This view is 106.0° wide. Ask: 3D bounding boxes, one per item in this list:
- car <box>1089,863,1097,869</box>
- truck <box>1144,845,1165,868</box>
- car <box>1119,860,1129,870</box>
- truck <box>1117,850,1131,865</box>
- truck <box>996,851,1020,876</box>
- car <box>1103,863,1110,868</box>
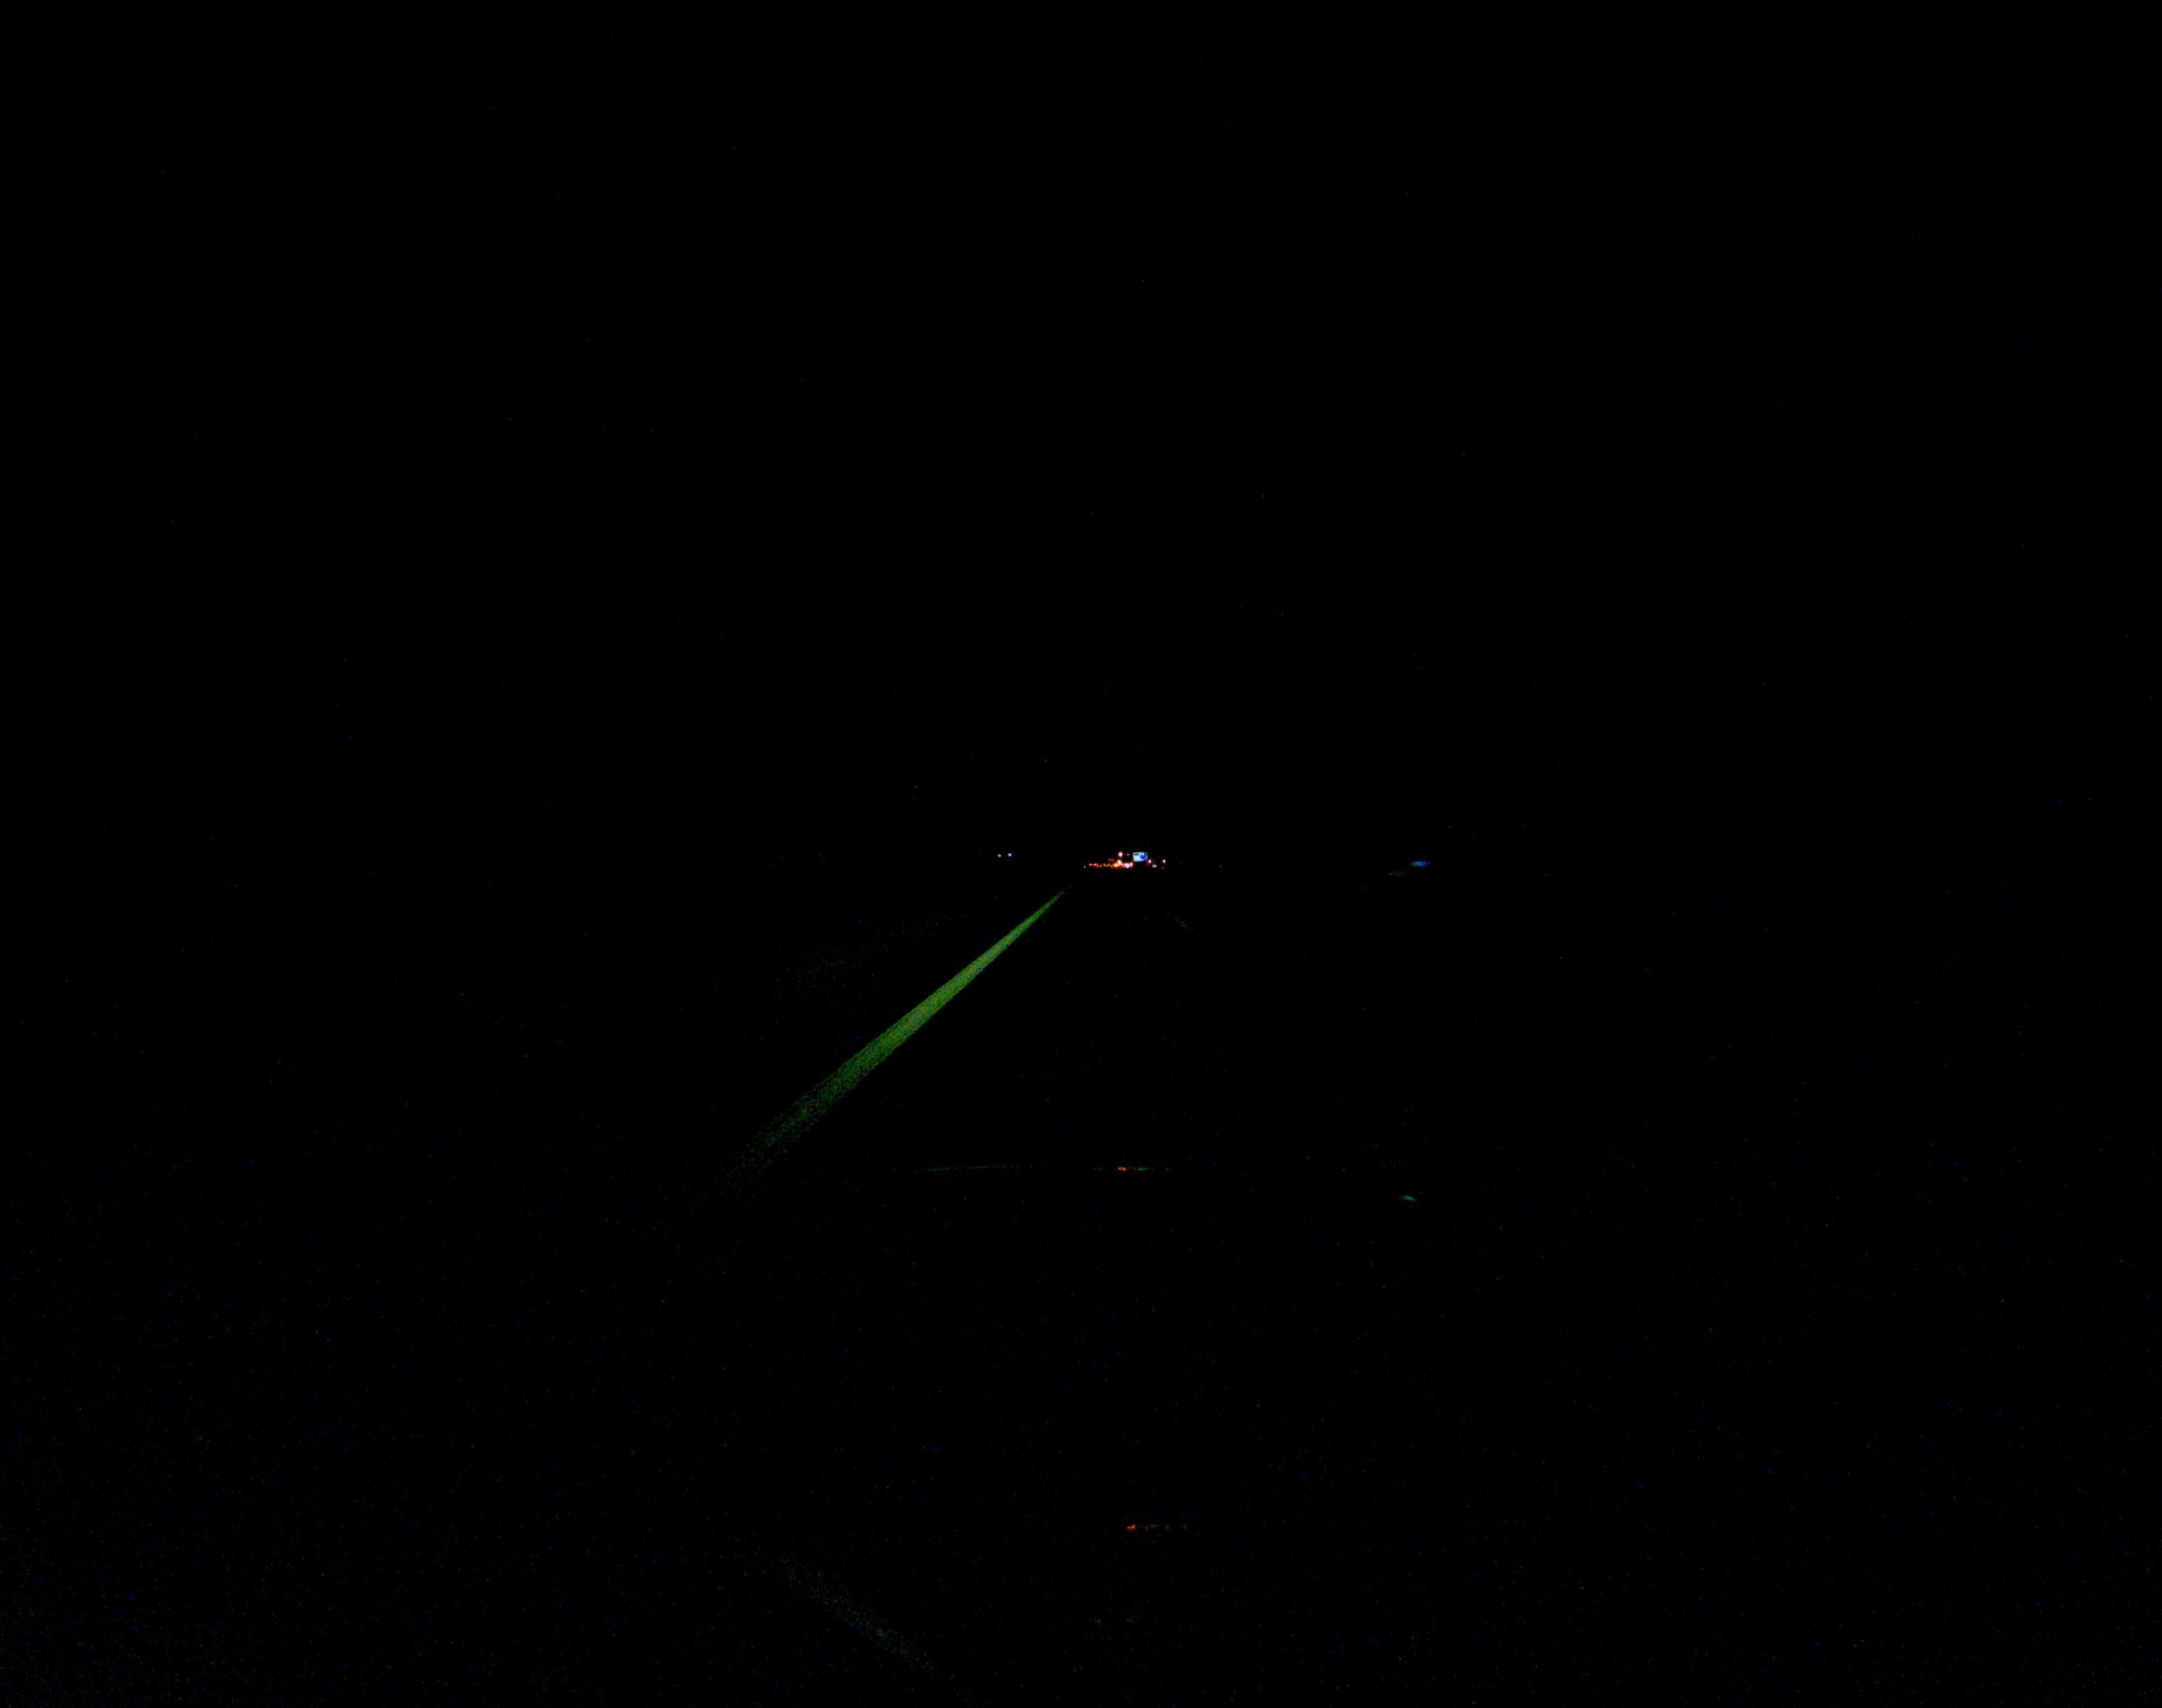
[{"bbox_3d":[2.874,2.792,193.318,1.814,1.466,4.249,0,0,1],"label":"car"},{"bbox_3d":[9.486,0.432,105.486,2.070,2.691,7.304,0,-2,0],"label":"truck"},{"bbox_3d":[6.324,1.582,120.016,1.341,1.387,3.502,0,0,1],"label":"car"},{"bbox_3d":[10.123,0.783,193.298,3.033,3.325,10.144,0,0,1],"label":"truck"},{"bbox_3d":[-13.604,1.762,152.577,3.105,4.202,16.968,-4,0,-1],"label":"truck"},{"bbox_3d":[6.989,3.163,223.798,1.814,1.466,4.249,0,0,1],"label":"car"}]
